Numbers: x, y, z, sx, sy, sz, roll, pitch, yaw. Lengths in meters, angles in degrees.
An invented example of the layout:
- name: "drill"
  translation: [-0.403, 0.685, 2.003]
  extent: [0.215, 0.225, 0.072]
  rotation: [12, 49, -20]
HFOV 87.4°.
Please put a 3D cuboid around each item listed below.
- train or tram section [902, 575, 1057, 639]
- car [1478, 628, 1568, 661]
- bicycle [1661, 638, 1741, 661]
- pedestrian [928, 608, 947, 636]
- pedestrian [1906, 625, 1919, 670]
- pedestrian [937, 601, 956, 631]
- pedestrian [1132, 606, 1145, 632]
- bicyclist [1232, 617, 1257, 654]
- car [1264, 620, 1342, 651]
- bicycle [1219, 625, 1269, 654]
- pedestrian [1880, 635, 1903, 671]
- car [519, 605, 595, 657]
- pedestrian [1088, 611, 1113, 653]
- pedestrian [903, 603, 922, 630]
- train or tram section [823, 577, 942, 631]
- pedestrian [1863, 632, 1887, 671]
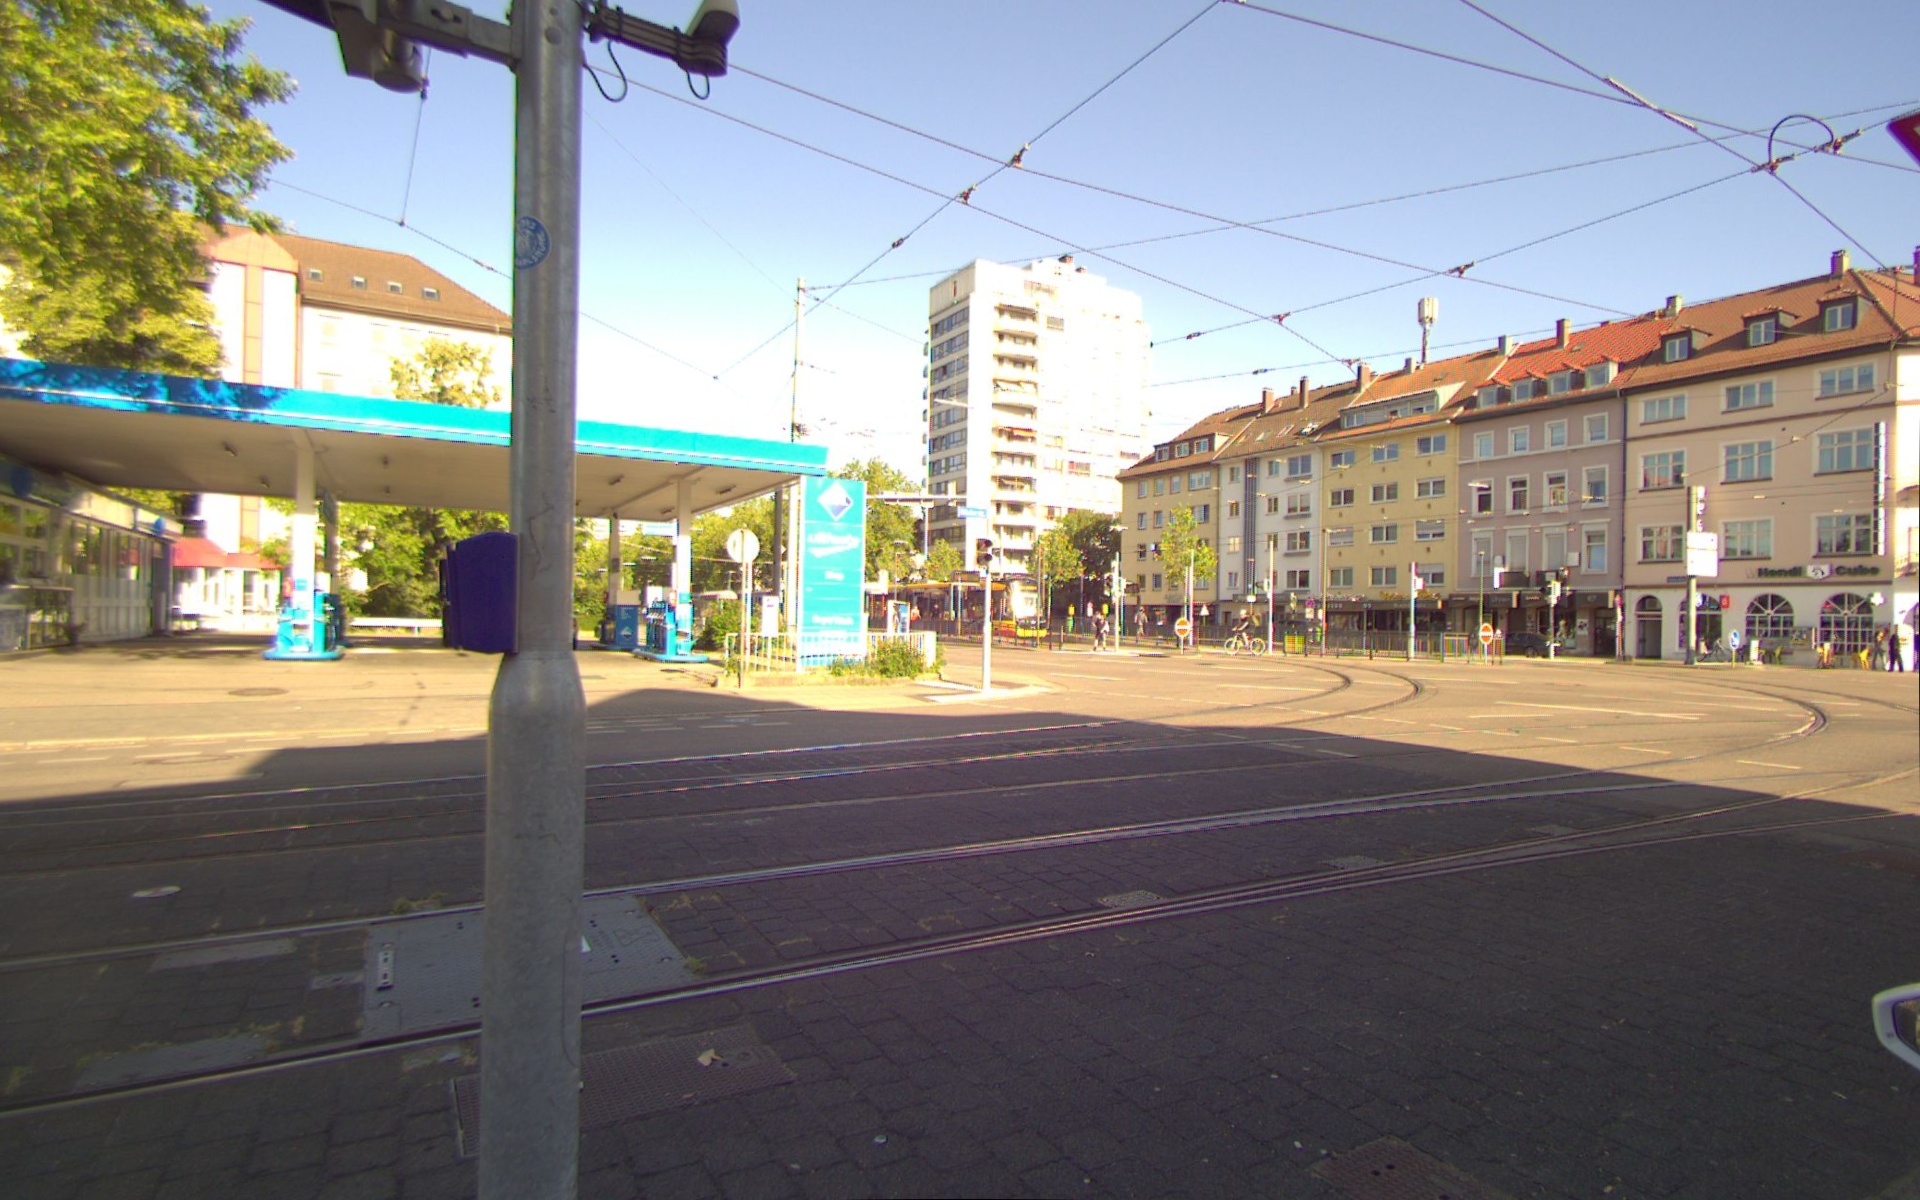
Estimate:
- name: "train or tram section"
  translation: [0.746, 0.314, 57.537]
  extent: [2.751, 3.273, 12.286]
  rotation: [2, 0, -31]
- name: "car"
  translation: [30.857, 2.421, 55.138]
  extent: [1.970, 1.692, 3.981]
  rotation: [1, -1, -21]
- name: "bicycle"
  translation: [37.502, 2.495, 50.894]
  extent: [0.989, 0.993, 3.115]
  rotation: [2, 0, -29]
- name: "pedestrian"
  translation: [-1.289, 1.238, 56.500]
  extent: [0.814, 1.532, 0.699]
  rotation: [1, -1, -33]
- name: "pedestrian"
  translation: [40.846, 2.039, 42.813]
  extent: [0.460, 1.906, 0.629]
  rotation: [2, 0, -33]
- name: "pedestrian"
  translation: [-0.730, 0.865, 55.112]
  extent: [0.814, 1.608, 0.699]
  rotation: [1, -1, -33]
- name: "pedestrian"
  translation: [11.476, 1.232, 64.650]
  extent: [0.570, 1.649, 0.522]
  rotation: [2, 0, -31]
- name: "bicyclist"
  translation: [11.042, 1.363, 39.049]
  extent: [0.787, 1.384, 0.560]
  rotation: [2, 0, 2]
- name: "car"
  translation: [20.110, 2.084, 59.123]
  extent: [1.929, 1.639, 4.149]
  rotation: [2, 0, -27]
- name: "bicycle"
  translation: [11.030, 1.531, 39.082]
  extent: [1.759, 1.084, 0.575]
  rotation: [2, 0, 1]
- name: "pedestrian"
  translation: [39.664, 2.259, 42.773]
  extent: [0.460, 1.496, 0.629]
  rotation: [2, 0, -33]
- name: "car"
  translation: [-12.144, 0.889, 30.149]
  extent: [1.764, 1.411, 3.455]
  rotation: [2, 0, -28]
- name: "pedestrian"
  translation: [5.646, 1.286, 40.429]
  extent: [0.675, 1.656, 0.694]
  rotation: [2, 0, -35]
- name: "pedestrian"
  translation: [-2.751, 0.976, 57.944]
  extent: [0.814, 1.532, 0.699]
  rotation: [1, -1, -33]
- name: "train or tram section"
  translation: [-5.517, 0.204, 68.051]
  extent: [2.751, 3.273, 12.286]
  rotation: [2, 0, -31]
- name: "pedestrian"
  translation: [39.825, 2.244, 43.721]
  extent: [0.460, 1.633, 0.629]
  rotation: [2, 0, -33]
